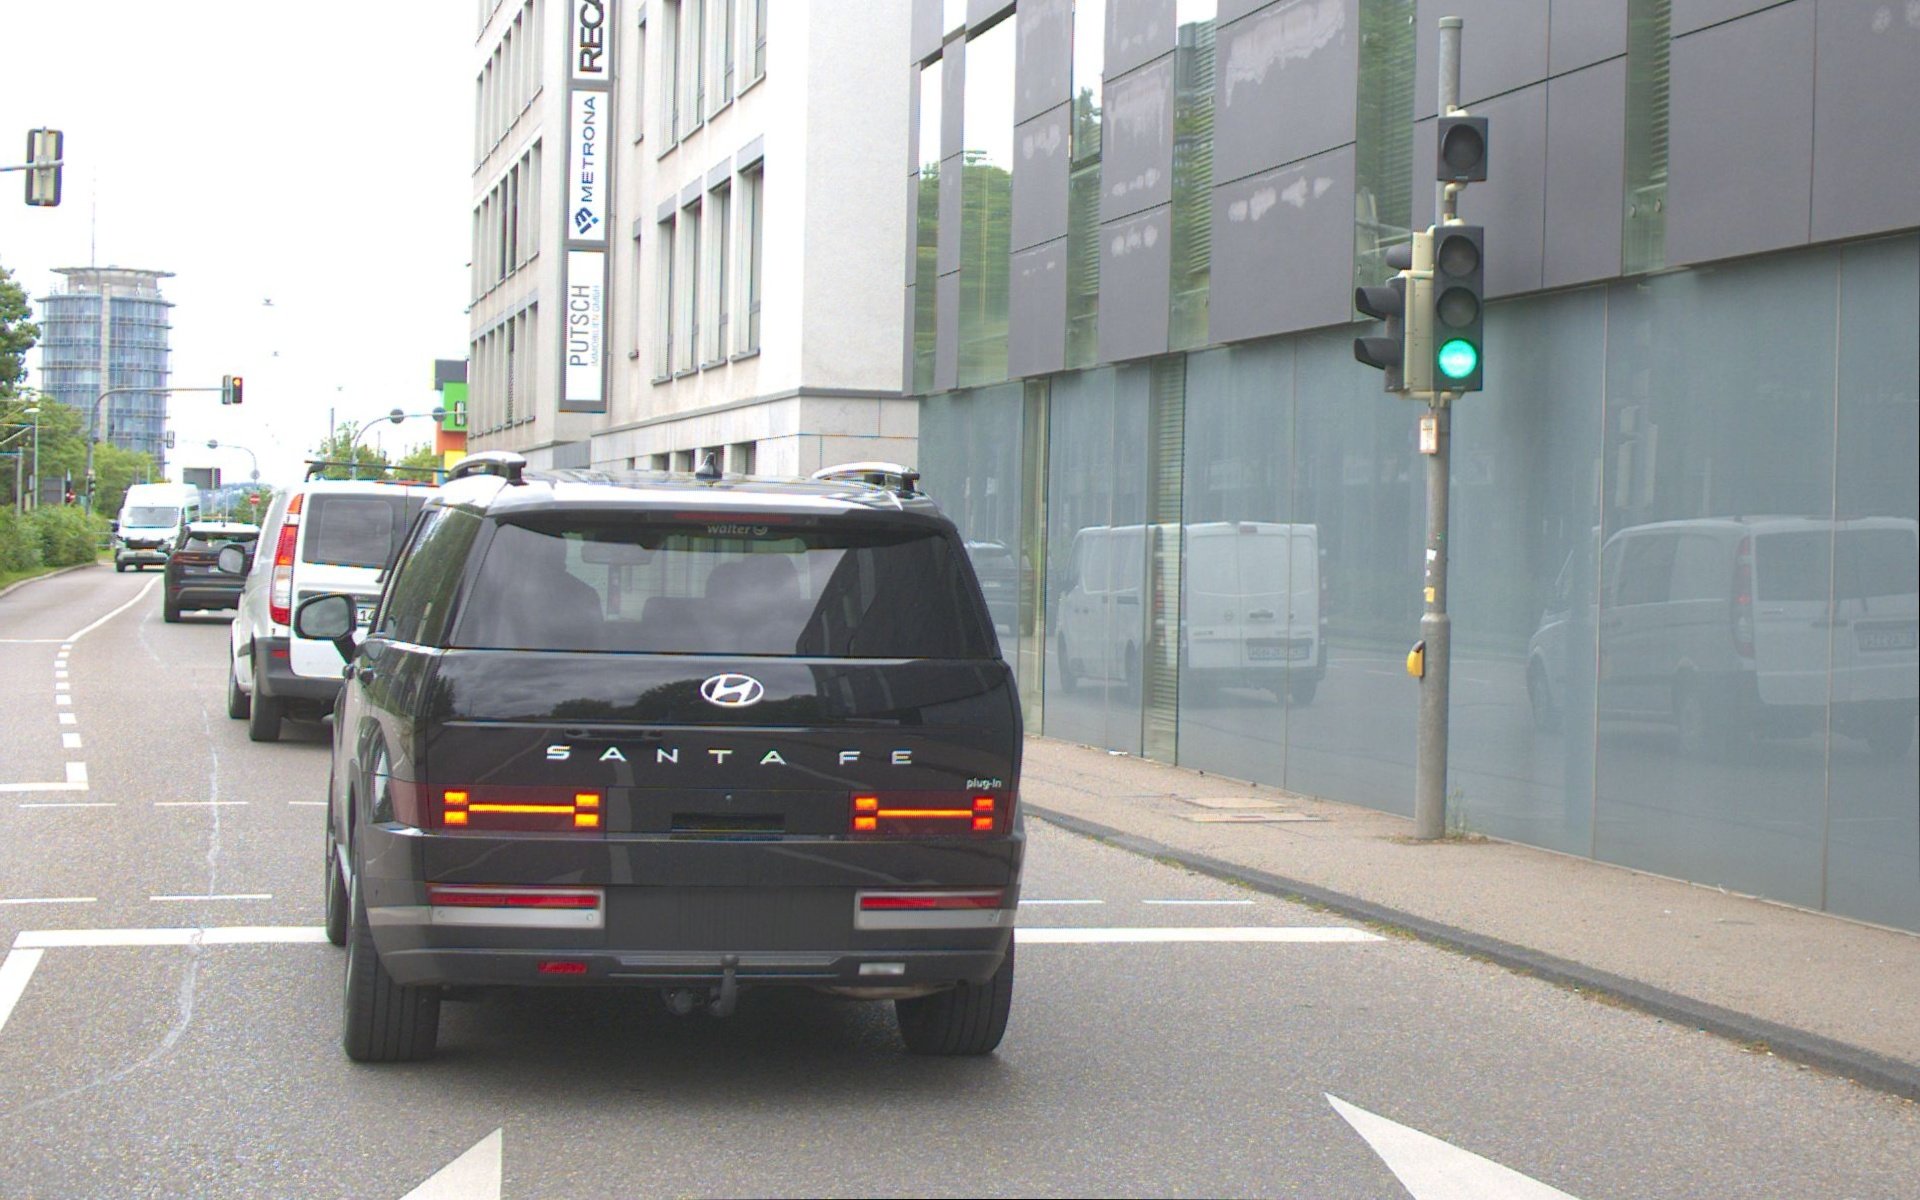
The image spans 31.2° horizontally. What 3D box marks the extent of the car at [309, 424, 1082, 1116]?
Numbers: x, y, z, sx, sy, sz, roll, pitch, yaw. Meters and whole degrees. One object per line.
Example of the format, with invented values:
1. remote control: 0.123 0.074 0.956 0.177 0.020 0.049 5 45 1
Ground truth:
1. car: -1.070 0.420 11.003 1.908 1.743 4.398 2 1 -11

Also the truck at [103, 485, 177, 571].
1. truck: -25.879 -2.268 108.641 2.165 2.606 5.798 1 1 -13

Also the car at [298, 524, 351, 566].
1. car: -30.076 -2.613 162.602 1.666 1.875 4.001 1 1 -22

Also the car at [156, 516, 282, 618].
1. car: -12.408 -0.573 57.735 1.759 1.603 4.189 1 1 -8

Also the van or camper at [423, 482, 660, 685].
1. van or camper: -4.421 -0.204 35.752 1.993 1.909 4.333 2 1 -12

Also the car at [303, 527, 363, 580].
1. car: -20.043 -1.498 110.018 1.759 1.603 4.189 1 1 -9

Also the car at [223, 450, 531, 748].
1. car: -4.437 -0.047 25.637 1.931 1.987 4.536 1 1 -13

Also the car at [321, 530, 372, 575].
1. car: -22.840 -1.781 128.135 1.759 1.603 4.189 1 1 -9
